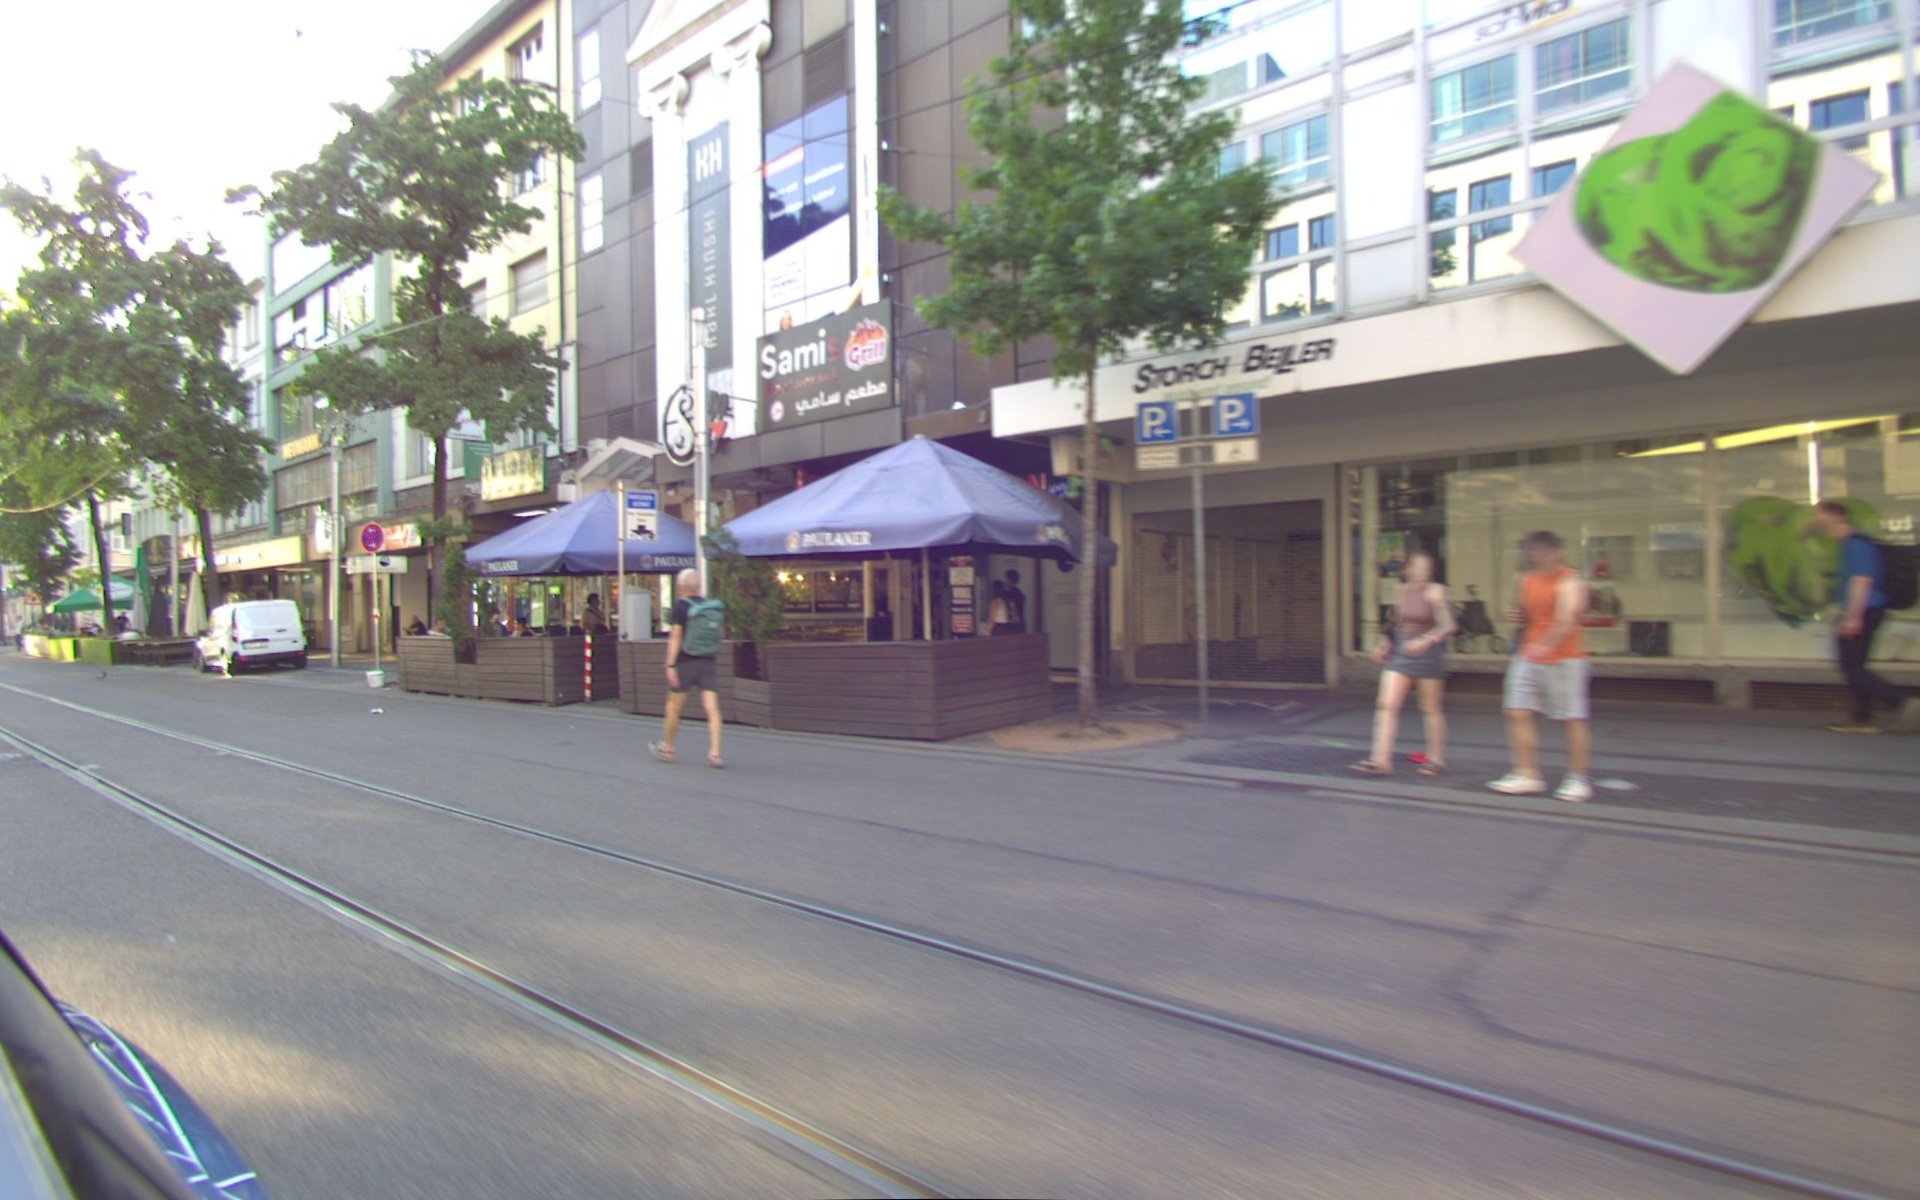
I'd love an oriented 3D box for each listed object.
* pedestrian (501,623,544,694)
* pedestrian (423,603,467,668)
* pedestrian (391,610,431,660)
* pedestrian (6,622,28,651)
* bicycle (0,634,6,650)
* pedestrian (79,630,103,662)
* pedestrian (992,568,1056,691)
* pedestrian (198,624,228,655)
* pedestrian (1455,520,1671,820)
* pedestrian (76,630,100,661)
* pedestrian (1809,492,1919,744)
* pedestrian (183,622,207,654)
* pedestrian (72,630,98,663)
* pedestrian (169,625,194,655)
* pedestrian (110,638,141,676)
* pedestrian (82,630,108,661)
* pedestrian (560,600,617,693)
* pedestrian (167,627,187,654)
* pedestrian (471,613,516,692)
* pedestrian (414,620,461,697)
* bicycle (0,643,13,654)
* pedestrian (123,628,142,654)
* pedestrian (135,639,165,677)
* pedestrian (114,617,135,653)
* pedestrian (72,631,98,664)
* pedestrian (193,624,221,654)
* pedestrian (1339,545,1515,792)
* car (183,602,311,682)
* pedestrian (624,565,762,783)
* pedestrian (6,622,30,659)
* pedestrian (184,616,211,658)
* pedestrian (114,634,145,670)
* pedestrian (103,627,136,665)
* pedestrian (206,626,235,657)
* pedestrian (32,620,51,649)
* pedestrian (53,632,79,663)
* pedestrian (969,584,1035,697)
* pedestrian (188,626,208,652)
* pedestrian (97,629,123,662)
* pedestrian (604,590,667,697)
[{"bbox_3d":[-7.922,1.043,18.324,0.535,1.237,0.490,-2,0,40],"label":"pedestrian"},{"bbox_3d":[-13.862,0.944,27.233,1.004,1.698,0.660,-2,1,40],"label":"pedestrian"},{"bbox_3d":[-16.979,1.072,31.312,0.764,1.477,0.762,-2,2,38],"label":"pedestrian"},{"bbox_3d":[-59.828,2.314,64.214,0.884,1.795,0.857,-2,2,40],"label":"pedestrian"},{"bbox_3d":[-70.199,3.108,73.437,2.038,1.130,0.753,-2,2,30],"label":"bicycle"},{"bbox_3d":[-38.067,2.019,44.333,0.781,1.357,0.700,-2,1,43],"label":"pedestrian"},{"bbox_3d":[0.942,0.424,14.870,0.671,1.758,0.591,-2,0,41],"label":"pedestrian"},{"bbox_3d":[-31.515,1.657,42.709,0.944,1.246,0.769,-2,2,40],"label":"pedestrian"},{"bbox_3d":[3.852,0.396,6.488,0.838,1.754,0.837,-2,0,-30],"label":"pedestrian"},{"bbox_3d":[-38.709,2.012,44.930,0.806,1.321,0.682,-2,1,41],"label":"pedestrian"},{"bbox_3d":[7.575,0.127,8.125,1.069,1.937,0.793,-2,1,38],"label":"pedestrian"},{"bbox_3d":[-33.249,1.652,43.990,0.696,1.319,0.613,-2,2,40],"label":"pedestrian"},{"bbox_3d":[-35.388,1.881,40.926,0.696,1.254,0.613,-2,2,40],"label":"pedestrian"},{"bbox_3d":[-34.298,1.762,44.578,0.798,1.251,0.663,-2,1,40],"label":"pedestrian"},{"bbox_3d":[-29.848,2.030,36.183,0.872,1.253,0.650,-2,2,40],"label":"pedestrian"},{"bbox_3d":[-37.088,1.931,43.384,0.869,1.269,0.700,-2,1,43],"label":"pedestrian"},{"bbox_3d":[-6.755,0.832,18.393,0.719,1.619,0.666,-2,0,40],"label":"pedestrian"},{"bbox_3d":[-35.910,1.838,46.418,0.686,1.183,0.595,-2,1,41],"label":"pedestrian"},{"bbox_3d":[-8.873,0.987,19.233,0.582,1.440,0.544,-2,0,40],"label":"pedestrian"},{"bbox_3d":[-9.549,1.059,18.506,0.582,1.366,0.544,-2,0,40],"label":"pedestrian"},{"bbox_3d":[-59.601,3.025,62.346,1.282,0.613,1.776,-2,0,44],"label":"bicycle"},{"bbox_3d":[-42.170,2.102,51.573,0.727,1.291,0.620,-2,1,41],"label":"pedestrian"},{"bbox_3d":[-29.376,2.104,36.700,0.797,1.303,0.650,-2,2,40],"label":"pedestrian"},{"bbox_3d":[-43.569,1.802,52.780,0.675,1.829,0.766,-3,1,-34],"label":"pedestrian"},{"bbox_3d":[-34.661,1.877,40.087,0.696,1.254,0.613,-2,2,40],"label":"pedestrian"},{"bbox_3d":[-32.369,1.677,43.515,0.787,1.241,0.729,-2,2,40],"label":"pedestrian"},{"bbox_3d":[3.380,0.455,7.344,0.837,1.650,0.764,-2,0,-30],"label":"pedestrian"},{"bbox_3d":[-19.297,1.099,27.317,4.552,1.878,1.777,-2,2,42],"label":"car"},{"bbox_3d":[-2.380,0.619,9.035,0.790,1.814,0.832,-2,1,41],"label":"pedestrian"},{"bbox_3d":[-46.963,2.018,50.466,0.686,1.805,0.749,-2,1,42],"label":"pedestrian"},{"bbox_3d":[-29.633,1.432,39.338,0.700,1.586,0.641,-2,1,40],"label":"pedestrian"},{"bbox_3d":[-29.281,1.836,35.675,0.797,1.202,0.650,-2,2,40],"label":"pedestrian"},{"bbox_3d":[-31.880,1.730,38.366,0.872,1.353,0.747,-2,2,40],"label":"pedestrian"},{"bbox_3d":[-29.516,1.647,40.383,0.787,1.176,0.693,-2,2,40],"label":"pedestrian"},{"bbox_3d":[-59.000,2.226,64.997,0.875,1.826,0.712,-2,2,40],"label":"pedestrian"},{"bbox_3d":[-37.772,2.009,42.747,0.772,1.269,0.700,-2,1,43],"label":"pedestrian"},{"bbox_3d":[0.595,0.559,14.396,0.671,1.544,0.591,-2,0,41],"label":"pedestrian"},{"bbox_3d":[-35.421,1.821,47.027,0.686,1.167,0.595,-2,1,41],"label":"pedestrian"},{"bbox_3d":[-34.212,1.818,40.727,0.696,1.254,0.613,-2,2,40],"label":"pedestrian"},{"bbox_3d":[-5.482,0.723,17.093,0.675,1.737,0.710,-2,0,39],"label":"pedestrian"}]
